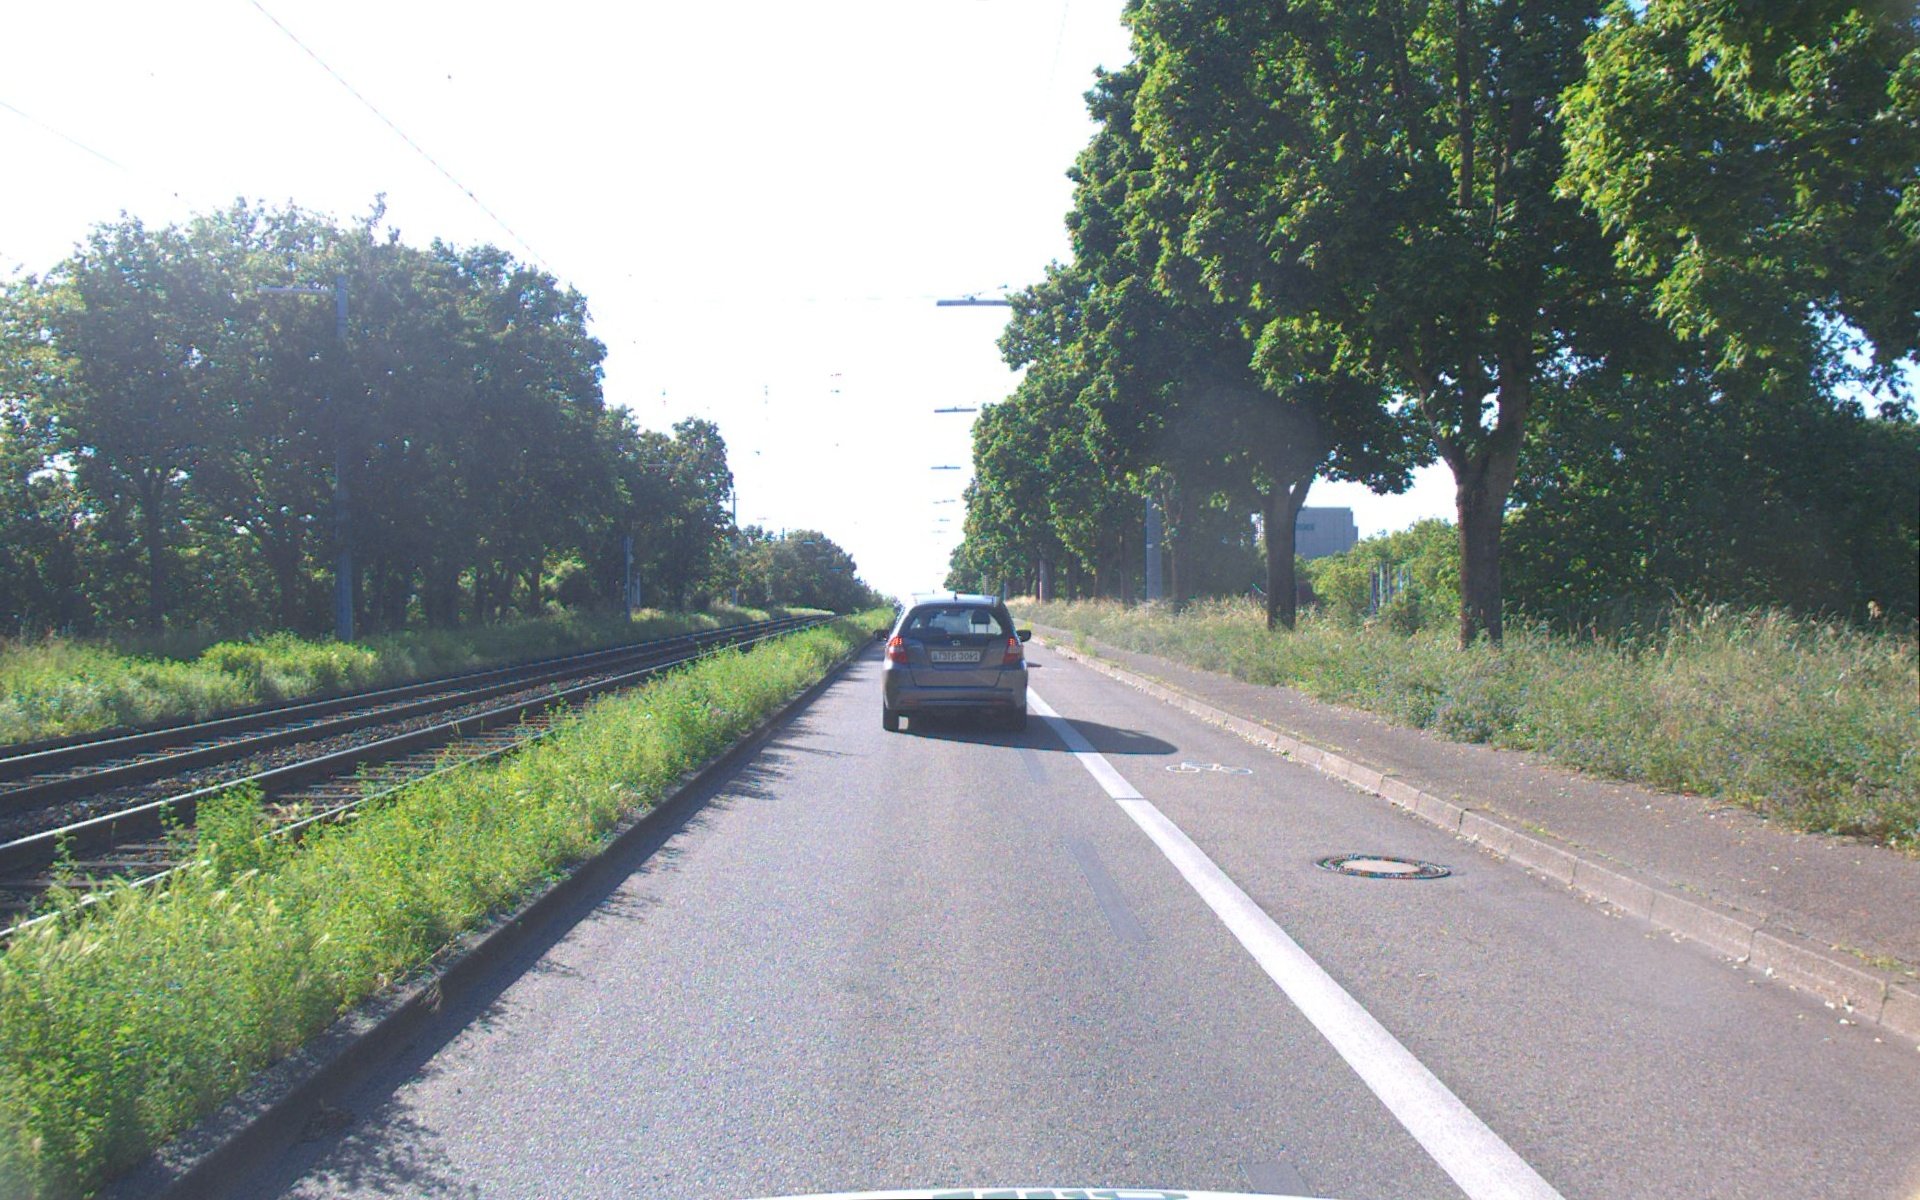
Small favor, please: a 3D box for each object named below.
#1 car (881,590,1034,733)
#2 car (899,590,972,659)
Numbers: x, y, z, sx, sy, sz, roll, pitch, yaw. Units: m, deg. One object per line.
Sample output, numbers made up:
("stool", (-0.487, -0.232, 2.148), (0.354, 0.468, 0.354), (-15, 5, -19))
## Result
("car", (-0.037, 0.672, 19.840), (1.636, 1.534, 3.810), (1, 0, 0))
("car", (-0.565, 0.561, 39.447), (1.621, 1.534, 3.810), (1, 0, 0))
